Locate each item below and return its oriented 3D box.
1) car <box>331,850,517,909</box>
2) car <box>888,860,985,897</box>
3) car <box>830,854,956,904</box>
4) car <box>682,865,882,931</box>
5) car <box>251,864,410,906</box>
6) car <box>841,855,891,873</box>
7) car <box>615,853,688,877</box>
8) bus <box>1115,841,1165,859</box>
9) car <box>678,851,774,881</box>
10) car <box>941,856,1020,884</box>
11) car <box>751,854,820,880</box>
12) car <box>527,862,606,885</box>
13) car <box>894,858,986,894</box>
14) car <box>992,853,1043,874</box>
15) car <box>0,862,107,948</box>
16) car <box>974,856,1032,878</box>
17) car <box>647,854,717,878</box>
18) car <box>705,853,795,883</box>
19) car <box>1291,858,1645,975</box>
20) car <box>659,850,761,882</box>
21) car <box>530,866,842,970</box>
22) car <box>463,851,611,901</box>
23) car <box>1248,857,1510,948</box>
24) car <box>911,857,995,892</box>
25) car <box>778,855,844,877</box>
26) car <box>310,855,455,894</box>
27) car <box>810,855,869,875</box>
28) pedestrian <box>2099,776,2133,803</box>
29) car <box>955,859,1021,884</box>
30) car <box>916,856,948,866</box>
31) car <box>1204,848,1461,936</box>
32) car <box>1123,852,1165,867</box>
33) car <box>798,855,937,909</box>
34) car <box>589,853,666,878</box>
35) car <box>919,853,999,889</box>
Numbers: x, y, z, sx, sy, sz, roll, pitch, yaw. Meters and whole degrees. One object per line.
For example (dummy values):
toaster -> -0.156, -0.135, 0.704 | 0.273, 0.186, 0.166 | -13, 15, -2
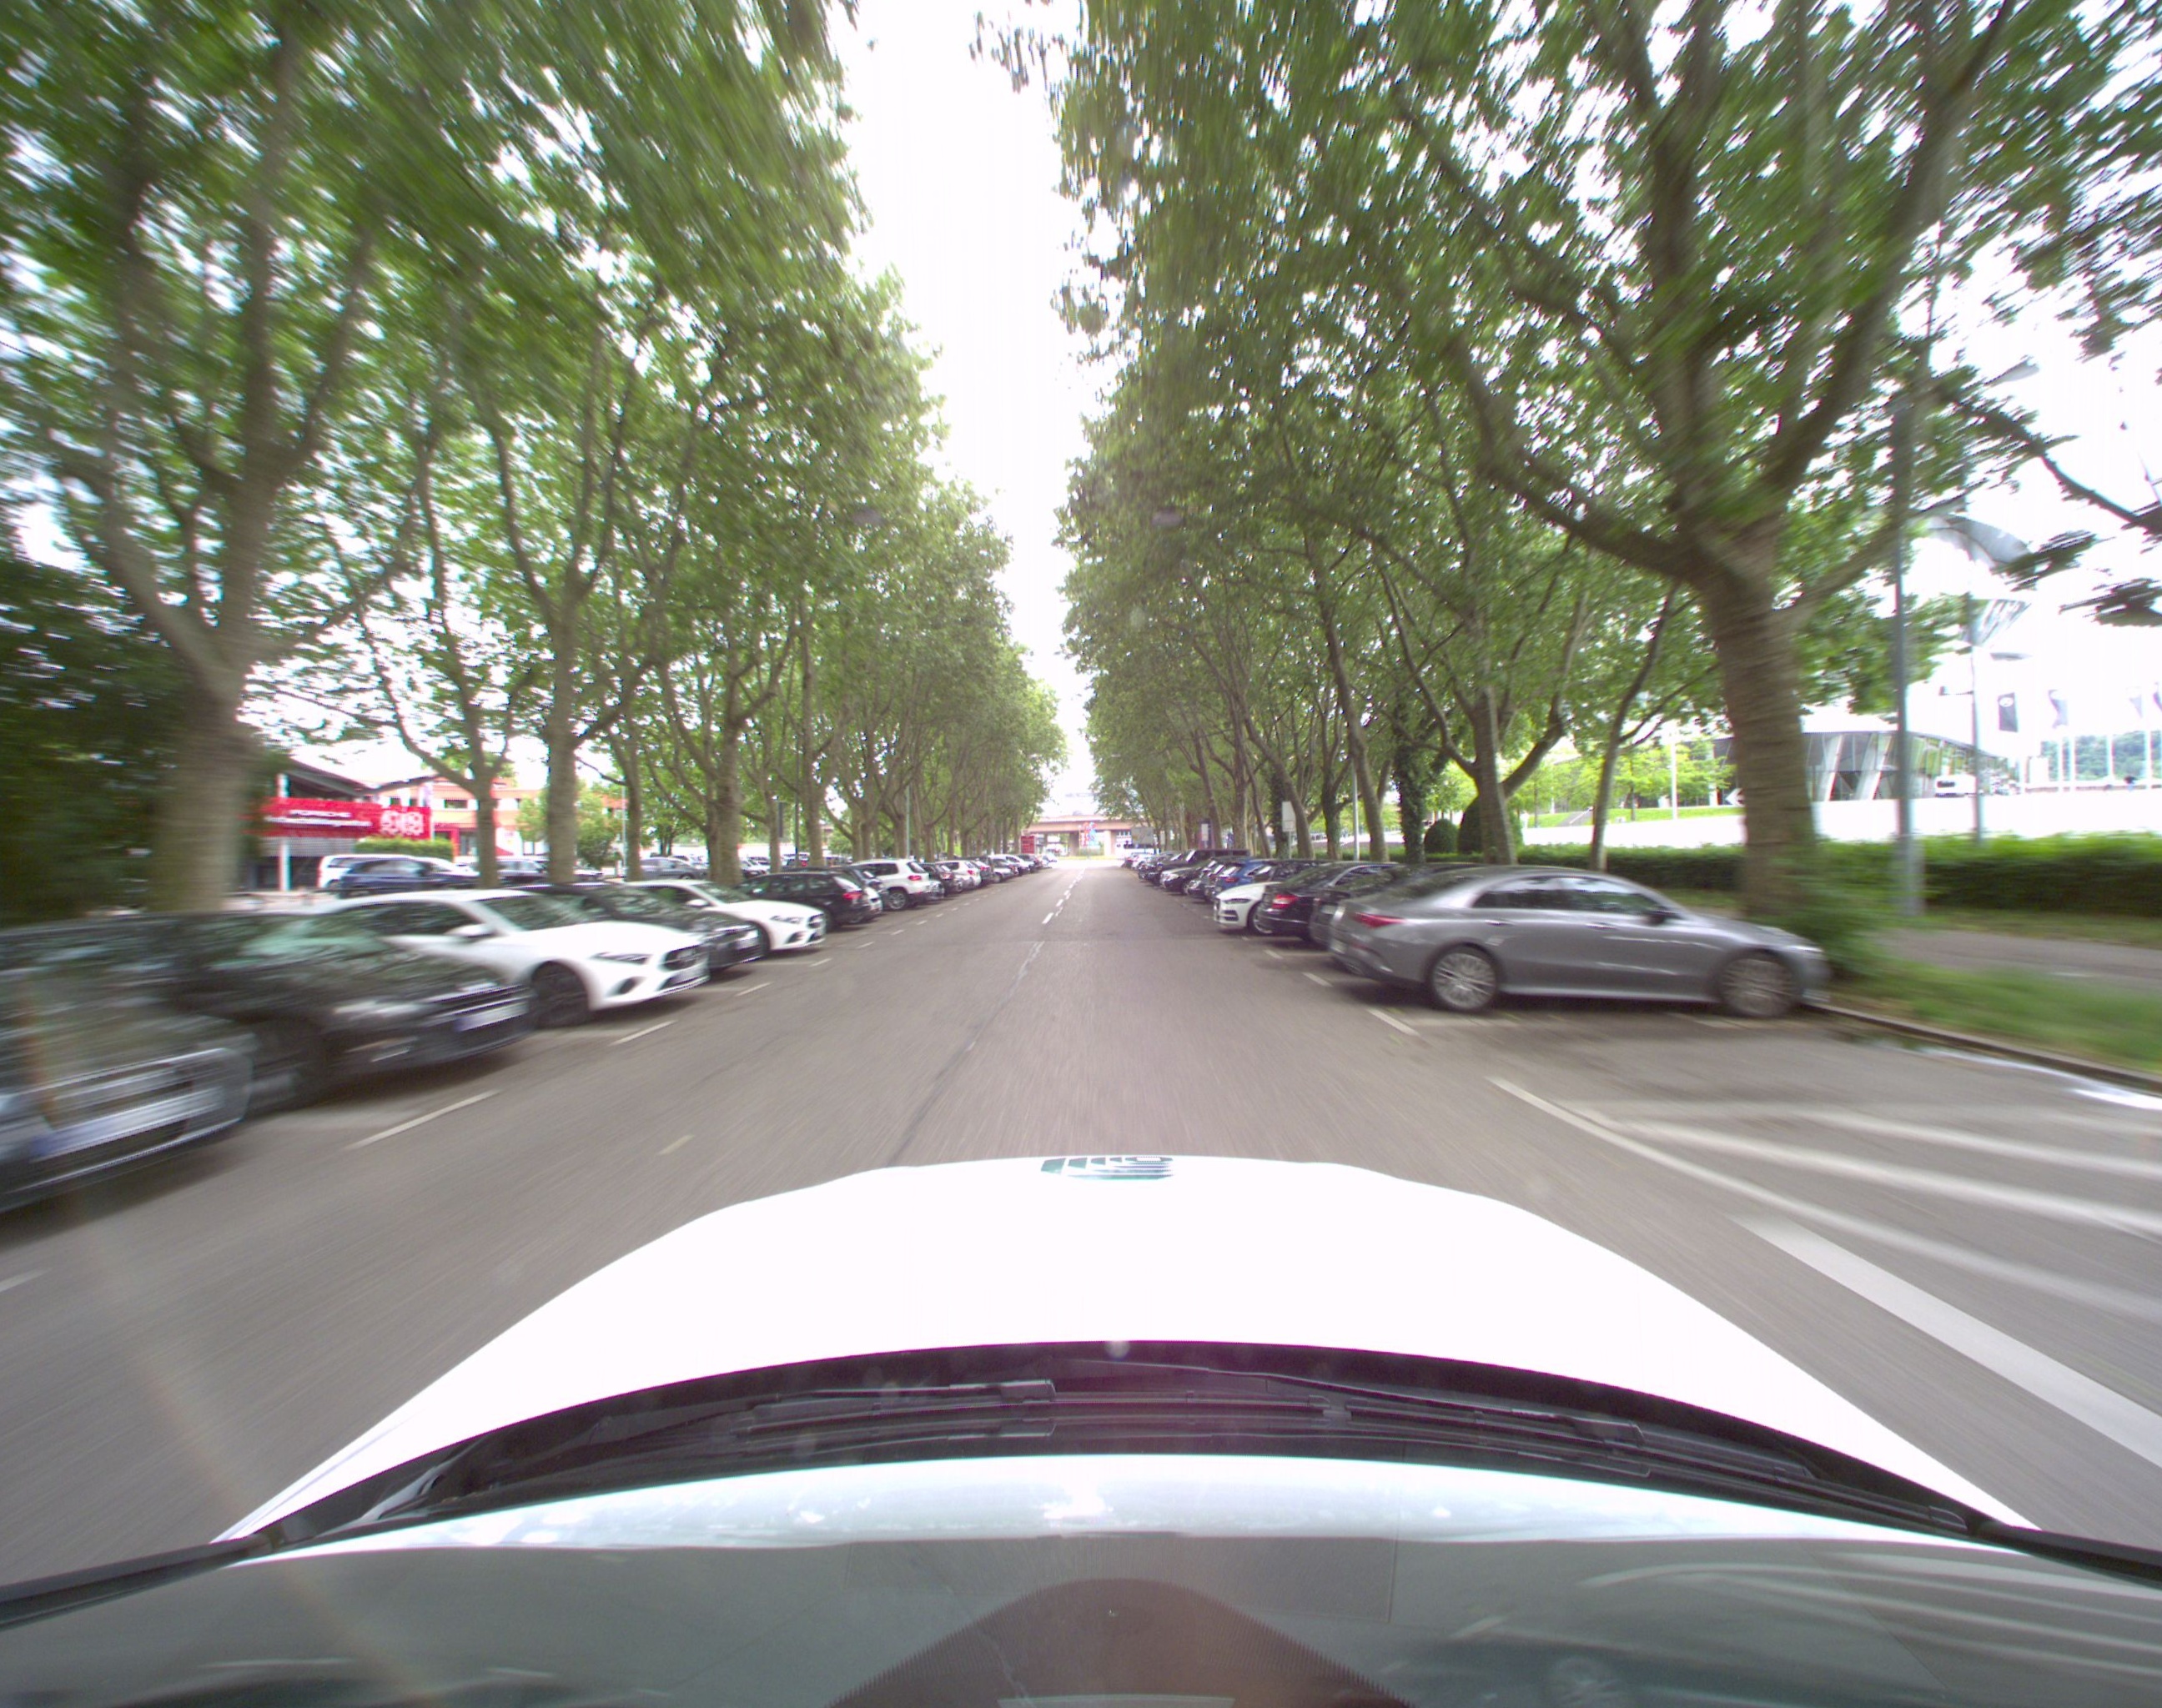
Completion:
car -> -22.114, 0.831, 27.562 | 4.540, 1.720, 1.999 | -3, 0, -2
car -> -6.388, 1.064, 36.279 | 3.981, 1.420, 1.703 | -3, 0, -1
car -> -6.597, 0.854, 28.832 | 3.972, 1.682, 1.856 | 0, -1, 2
car -> -6.946, 0.992, 19.208 | 3.972, 1.453, 1.856 | 0, -1, 2
car -> -33.272, 1.342, 36.245 | 4.928, 1.797, 2.182 | 0, -1, -2
car -> -21.114, 0.946, 80.021 | 4.307, 1.709, 2.131 | 0, -1, 0
car -> -33.756, 0.880, 64.091 | 4.555, 1.855, 2.300 | 0, -1, 6
bus -> 11.822, -0.792, 161.608 | 10.036, 3.398, 2.321 | -1, 0, -26
car -> -21.831, 0.712, 50.175 | 4.928, 1.797, 2.182 | 0, -1, -2
car -> -6.010, 0.945, 49.101 | 4.450, 1.482, 1.703 | -3, 0, -1
car -> -21.855, 0.965, 60.298 | 4.307, 1.861, 2.028 | 0, -1, 0
car -> -32.386, 1.202, 51.284 | 3.975, 1.371, 1.505 | 0, -1, -1
car -> -6.776, 1.032, 39.224 | 3.973, 1.485, 1.706 | -3, 0, 5
car -> -5.511, 0.796, 71.143 | 4.302, 1.795, 2.037 | 0, -1, 1
car -> -22.813, 0.971, 15.754 | 5.332, 1.596, 2.094 | 0, -1, -1
car -> -5.829, 0.979, 61.211 | 3.961, 1.421, 1.757 | -3, 0, 4
car -> -32.585, 0.969, 66.596 | 4.555, 1.855, 2.300 | 0, -1, 6
car -> -21.476, 0.889, 52.960 | 4.928, 1.797, 2.182 | -1, 0, -2
car -> 5.156, 0.779, 11.200 | 4.010, 1.417, 1.908 | 0, 0, -5
car -> -21.618, 0.690, 47.637 | 4.928, 1.797, 2.182 | 0, -1, -2
car -> -6.728, 1.054, 14.297 | 4.394, 1.444, 2.047 | -3, 0, -1
car -> -21.967, 0.871, 33.053 | 4.540, 1.720, 1.999 | -3, 0, -2
car -> 4.878, 0.771, 13.711 | 3.816, 1.417, 1.719 | 0, 0, 1
car -> -6.411, 1.012, 41.164 | 3.919, 1.516, 1.728 | -3, 0, -1
car -> -21.691, 0.964, 65.561 | 4.537, 1.725, 2.296 | 0, -1, 0
car -> -33.162, 0.961, 38.785 | 4.928, 1.797, 2.182 | 0, -1, -2
car -> -21.462, 0.971, 72.514 | 4.504, 1.762, 2.296 | 0, -1, 0
pedestrian -> 79.931, -4.976, 62.923 | 1.153, 2.014, 1.112 | -1, -1, 11
car -> -5.830, 1.099, 51.519 | 3.919, 1.398, 1.703 | -3, 0, -1
car -> -20.344, 0.941, 111.122 | 3.974, 1.324, 2.002 | 0, -1, 0
car -> 4.805, 0.691, 16.110 | 4.507, 1.623, 2.055 | 0, 0, 1
car -> 6.619, 0.572, 86.260 | 4.330, 1.633, 1.926 | 0, 0, 1
car -> -6.838, 0.893, 26.409 | 3.972, 1.682, 1.856 | 0, -1, 2
car -> -34.125, 0.860, 61.391 | 4.555, 1.855, 2.300 | 0, -1, 6
car -> -6.489, 0.870, 43.676 | 3.919, 1.708, 1.751 | -3, 0, -1
